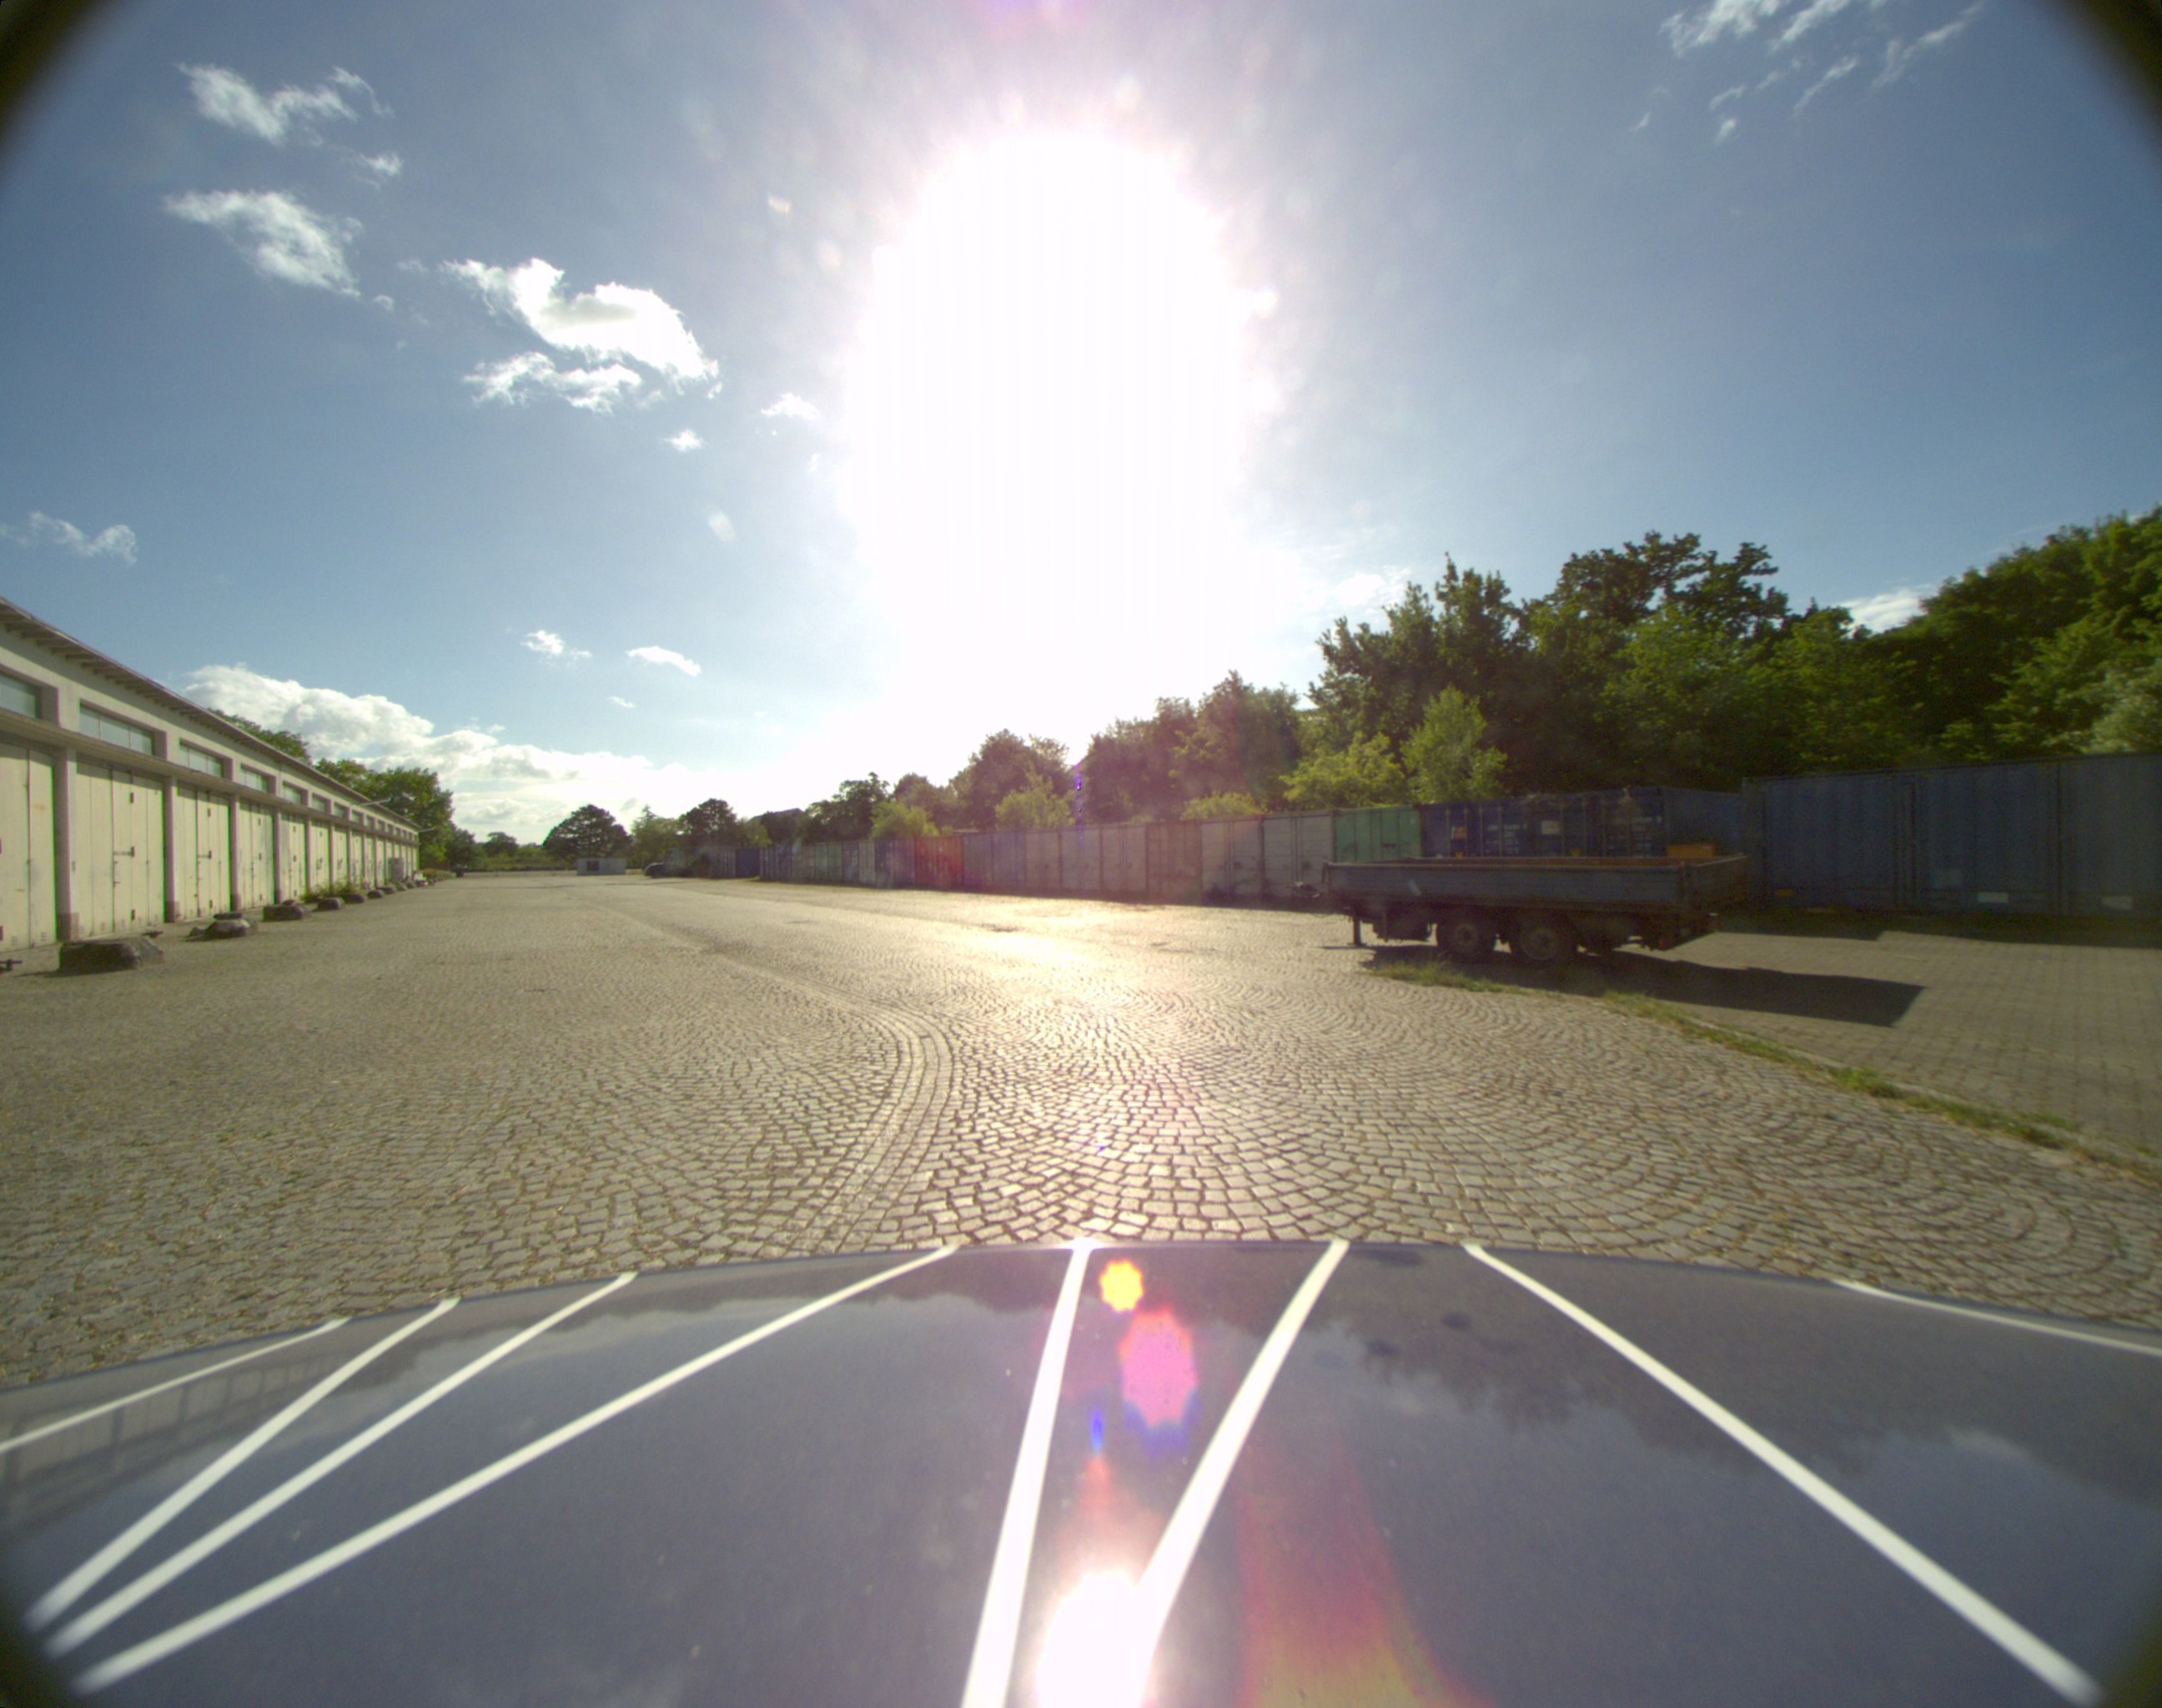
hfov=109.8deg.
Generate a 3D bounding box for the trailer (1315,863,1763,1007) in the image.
[{"bbox_3d":[6.214,0.900,10.854,2.654,1.406,4.848,-2,1,-37],"label":"trailer"}]

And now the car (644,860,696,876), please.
[{"bbox_3d":[-41.053,1.394,75.925,4.122,1.289,1.994,-4,2,-40],"label":"car"}]
